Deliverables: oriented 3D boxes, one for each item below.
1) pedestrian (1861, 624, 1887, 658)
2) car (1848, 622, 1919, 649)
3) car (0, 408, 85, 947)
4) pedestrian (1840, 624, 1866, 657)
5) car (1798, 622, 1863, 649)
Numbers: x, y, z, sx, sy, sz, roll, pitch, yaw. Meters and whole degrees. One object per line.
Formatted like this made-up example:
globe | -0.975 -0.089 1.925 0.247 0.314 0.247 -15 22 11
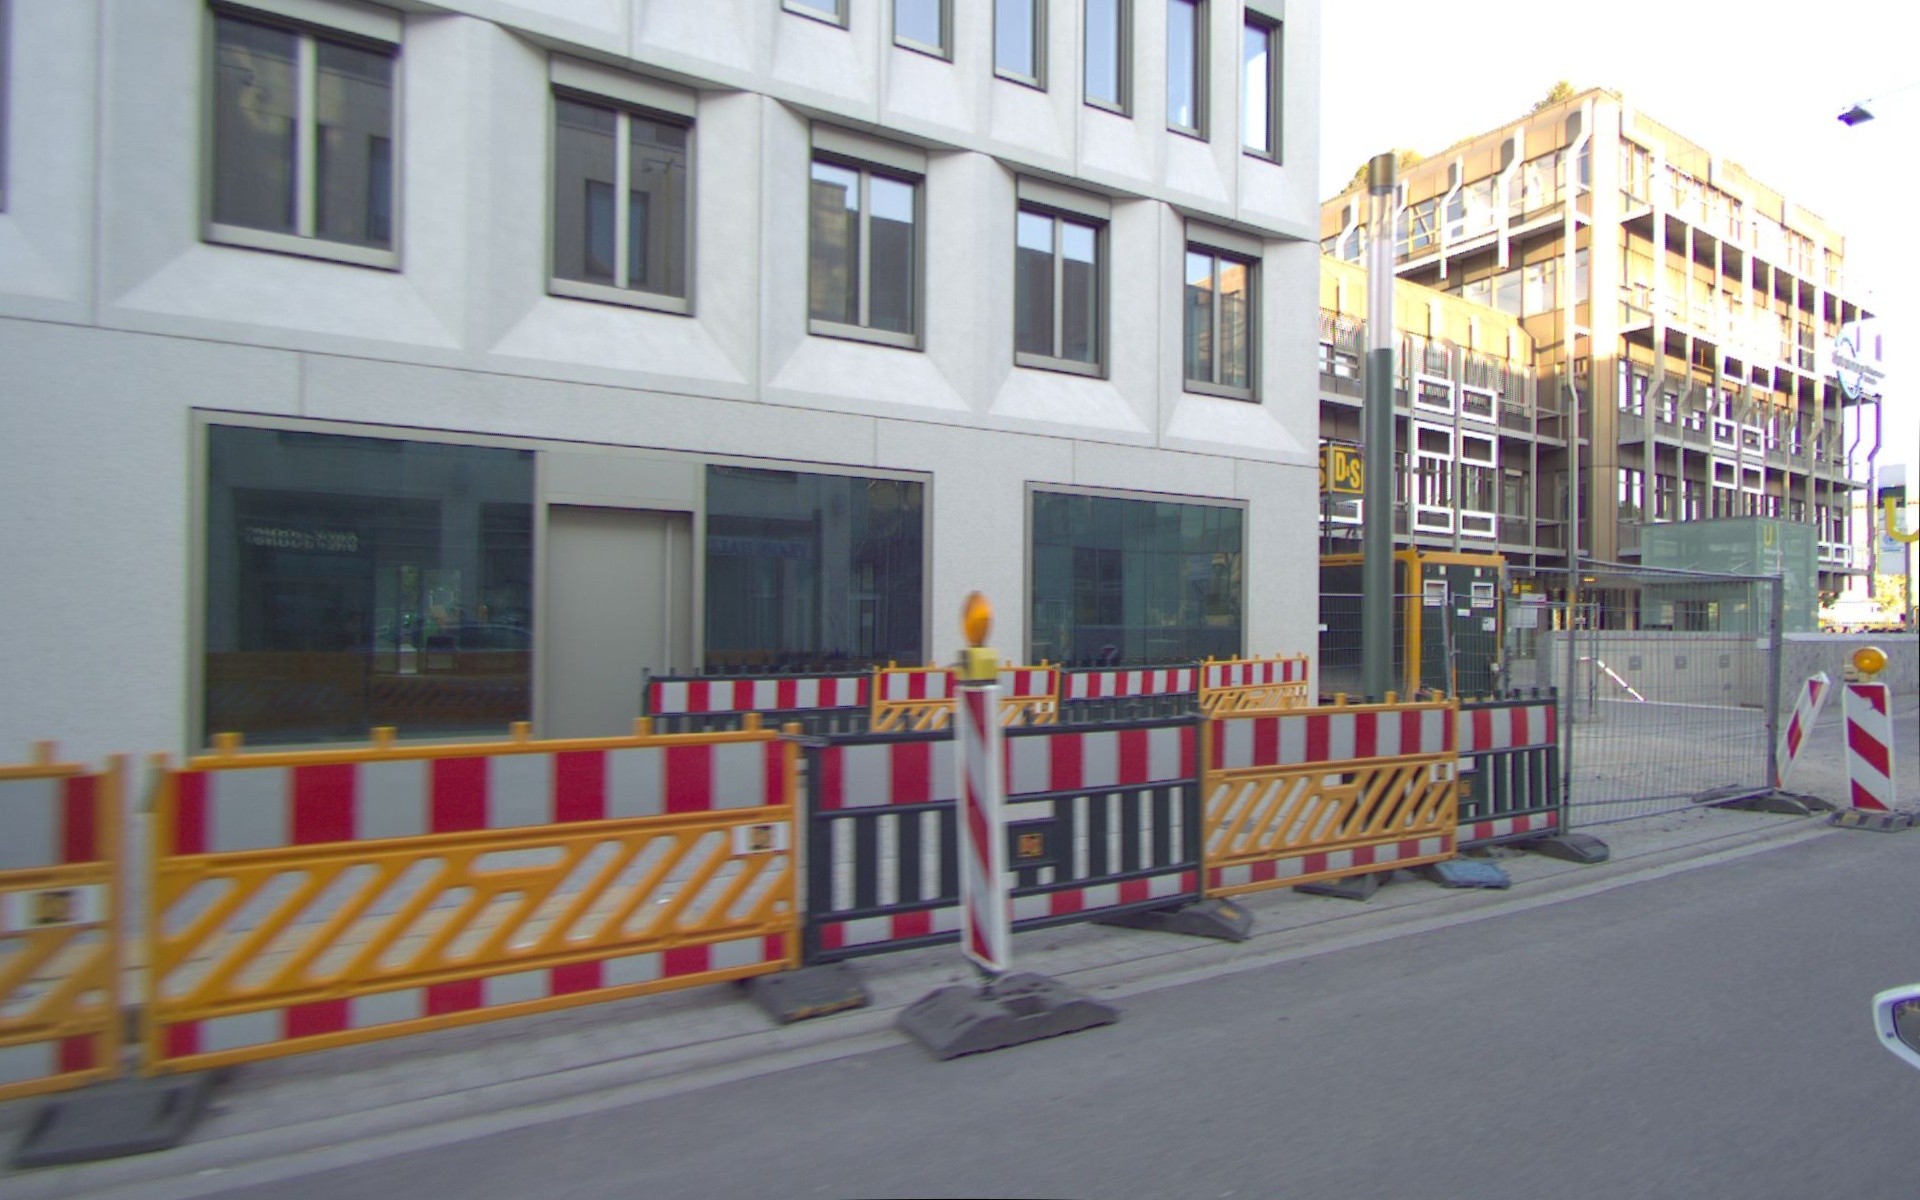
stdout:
pedestrian | 48.994 2.193 53.850 0.727 1.800 0.863 -2 -3 25
car | 55.930 2.095 59.645 2.106 1.515 4.433 1 -1 -34
car | -7.104 0.316 3.340 5.926 2.503 2.164 1 -1 -29
pedestrian | 48.450 2.207 54.506 0.727 1.800 0.863 -2 -3 25
car | 57.376 2.348 66.234 1.599 1.707 3.103 1 -1 -41
